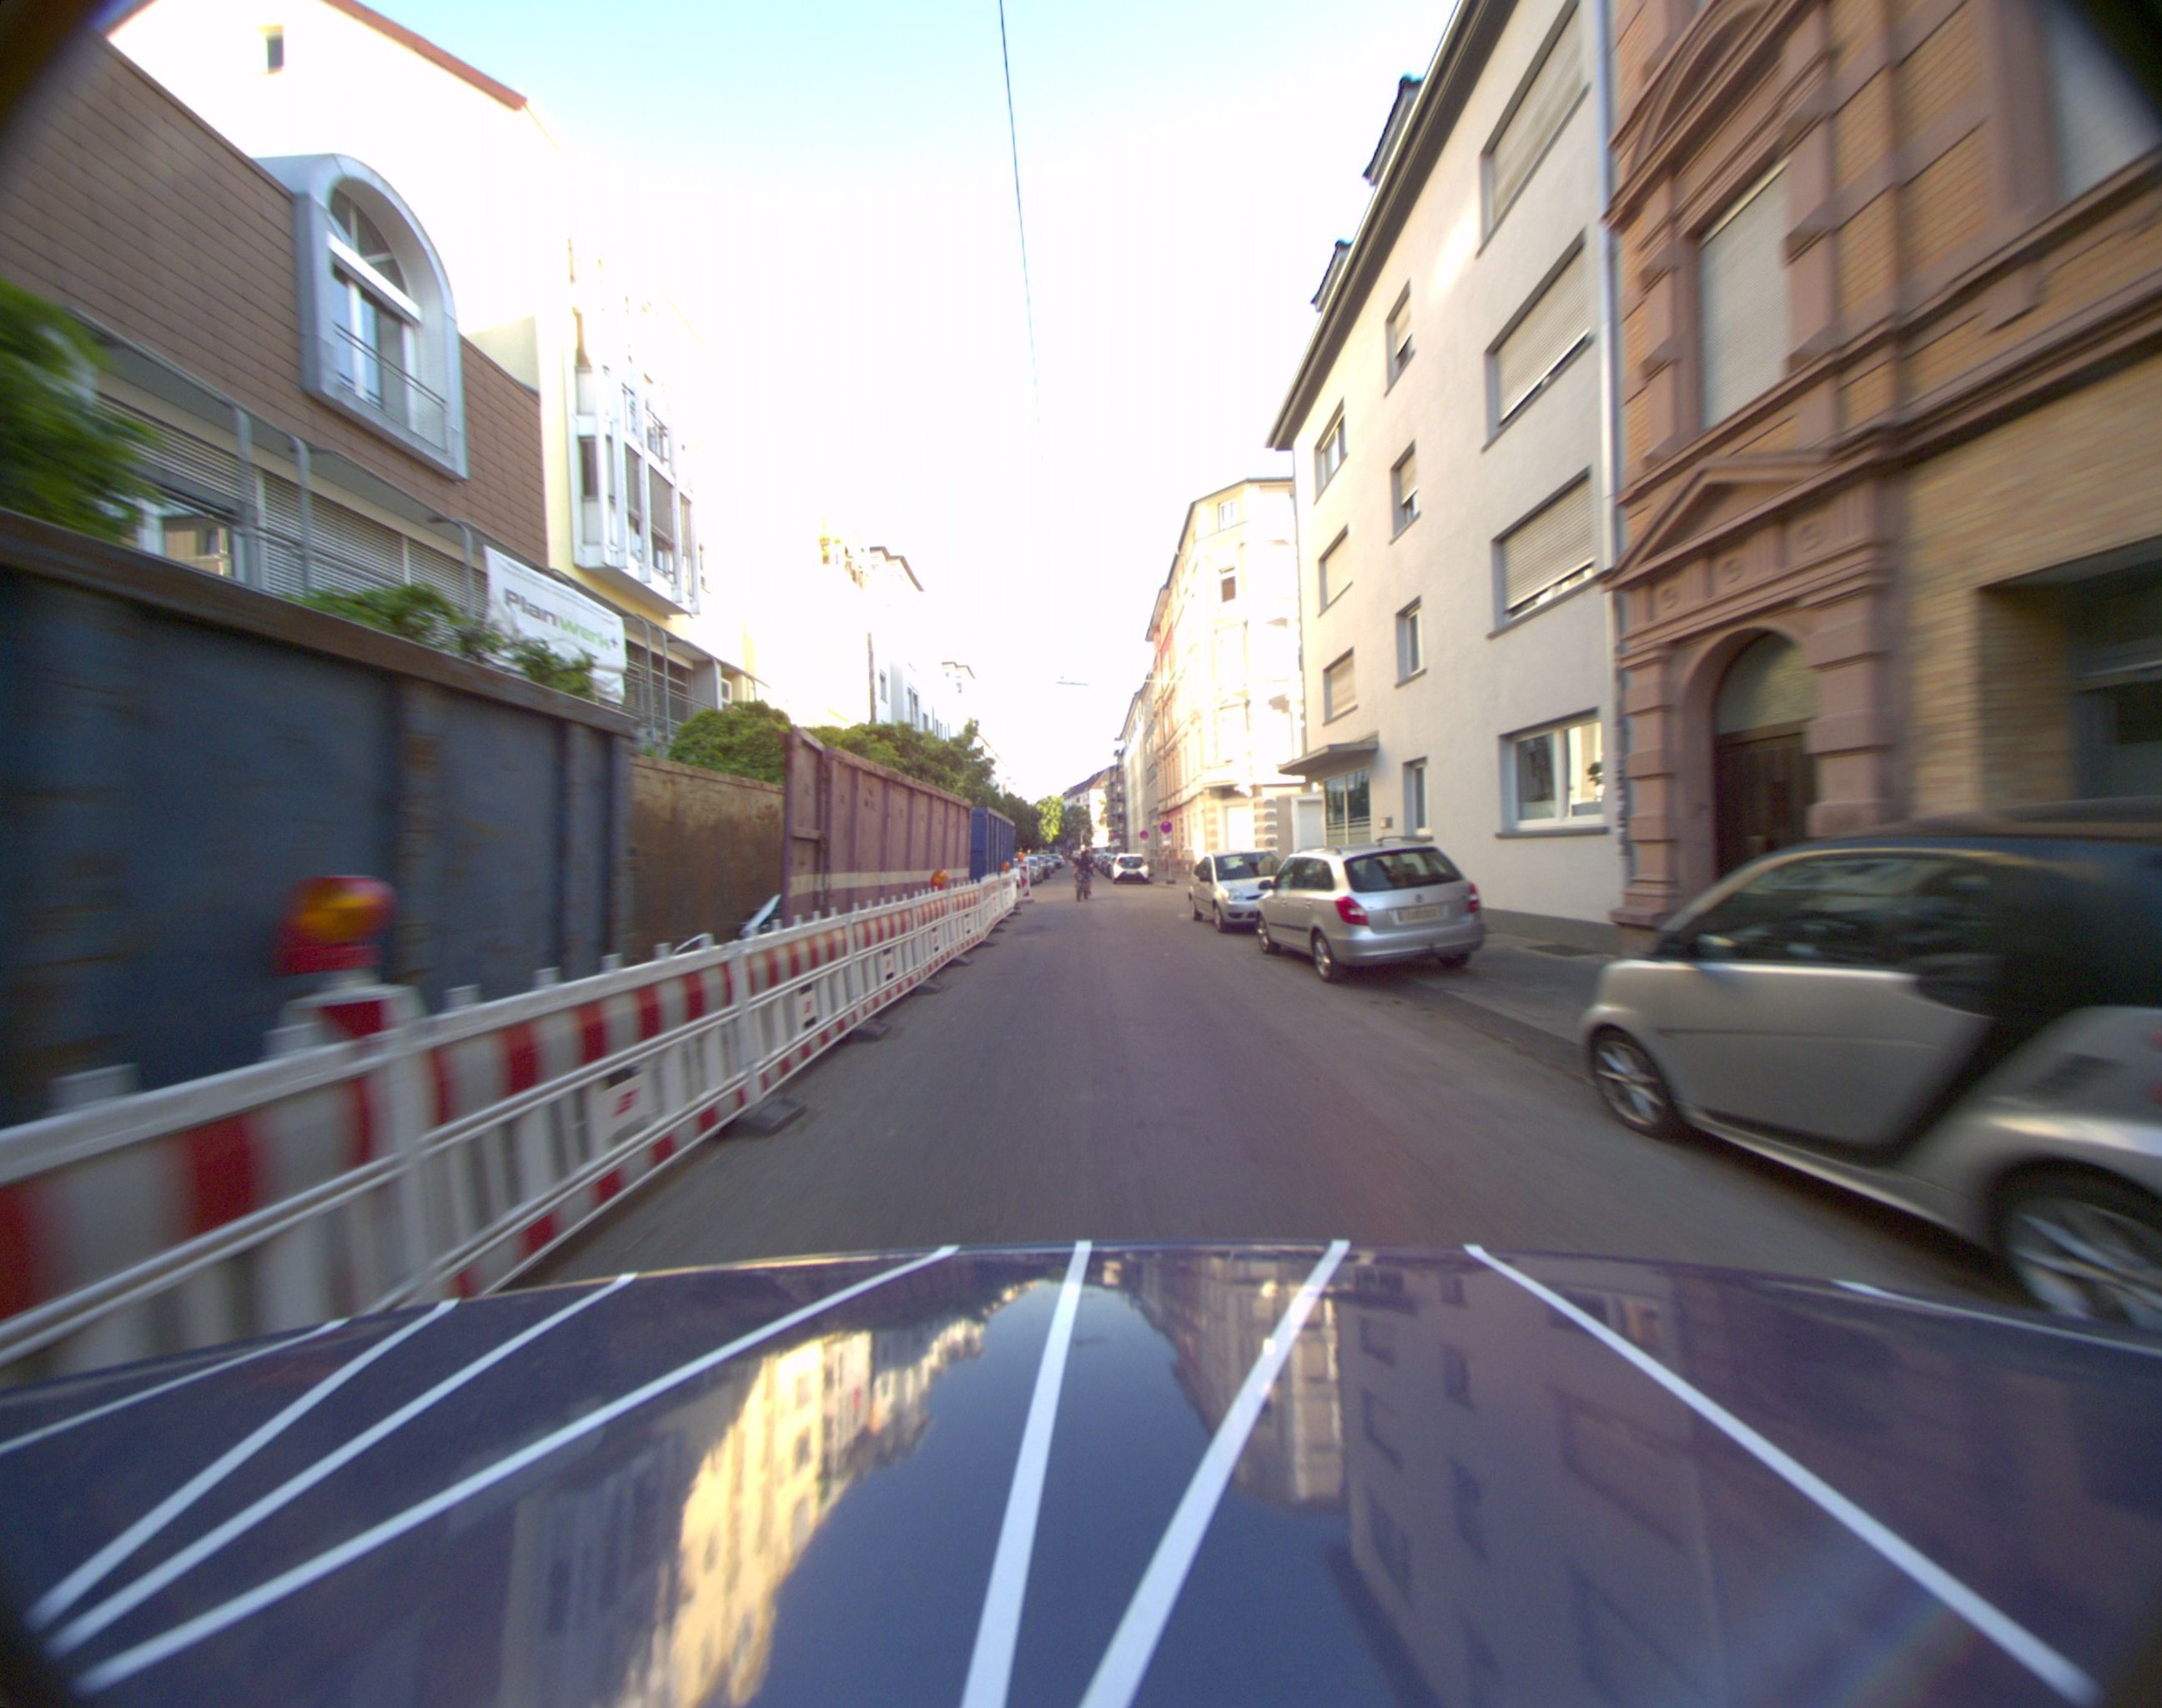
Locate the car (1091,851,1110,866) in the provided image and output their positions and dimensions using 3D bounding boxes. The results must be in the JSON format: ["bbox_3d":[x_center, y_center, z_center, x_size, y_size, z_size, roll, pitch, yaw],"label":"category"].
[{"bbox_3d":[2.195,0.501,85.734,1.998,1.566,4.149,-3,0,0],"label":"car"}]

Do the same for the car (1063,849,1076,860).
[{"bbox_3d":[-1.900,0.039,125.668,1.998,1.783,4.000,-3,0,0],"label":"car"}]

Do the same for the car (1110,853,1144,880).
[{"bbox_3d":[2.590,0.677,43.493,1.614,1.420,3.961,0,1,-1],"label":"car"}]

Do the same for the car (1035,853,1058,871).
[{"bbox_3d":[-3.115,0.722,68.933,1.855,1.480,3.999,-3,0,-1],"label":"car"}]

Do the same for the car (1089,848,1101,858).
[{"bbox_3d":[2.520,-0.224,139.032,1.998,1.783,4.000,-3,0,0],"label":"car"}]

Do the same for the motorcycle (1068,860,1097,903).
[{"bbox_3d":[0.065,0.859,24.042,0.806,1.242,1.699,-4,-1,1],"label":"motorcycle"}]

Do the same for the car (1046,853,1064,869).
[{"bbox_3d":[-2.901,0.792,85.251,1.856,1.649,3.999,-3,0,-2],"label":"car"}]

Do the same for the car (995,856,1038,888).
[{"bbox_3d":[-3.263,0.900,39.004,1.638,1.439,4.067,-3,0,3],"label":"car"}]

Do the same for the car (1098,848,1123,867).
[{"bbox_3d":[2.727,0.300,71.108,1.999,1.640,4.492,-3,1,-1],"label":"car"}]

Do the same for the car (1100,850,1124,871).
[{"bbox_3d":[2.443,0.477,60.059,1.597,1.513,4.429,-3,1,-1],"label":"car"}]

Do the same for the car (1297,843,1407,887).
[{"bbox_3d":[10.468,0.405,29.482,3.588,1.471,1.686,-3,1,-5],"label":"car"}]

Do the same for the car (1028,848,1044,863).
[{"bbox_3d":[-6.386,0.257,107.599,1.999,2.002,3.999,-3,1,-1],"label":"car"}]

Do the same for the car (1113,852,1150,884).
[{"bbox_3d":[2.508,0.658,38.531,1.688,1.487,3.844,1,1,2],"label":"car"}]

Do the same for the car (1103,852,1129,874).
[{"bbox_3d":[2.489,0.600,55.050,1.537,1.490,4.195,-1,1,-1],"label":"car"}]

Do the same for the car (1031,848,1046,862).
[{"bbox_3d":[-6.301,0.153,112.088,1.999,2.002,3.999,-3,1,-1],"label":"car"}]

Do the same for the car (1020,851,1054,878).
[{"bbox_3d":[-2.997,0.692,52.682,1.863,1.679,4.390,-3,0,2],"label":"car"}]

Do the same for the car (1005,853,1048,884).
[{"bbox_3d":[-3.070,0.798,43.728,1.912,1.576,4.000,-3,0,3],"label":"car"}]

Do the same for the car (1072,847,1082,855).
[{"bbox_3d":[-0.816,-0.663,168.603,1.998,1.783,4.000,-3,0,0],"label":"car"}]

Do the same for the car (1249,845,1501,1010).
[{"bbox_3d":[3.309,0.717,9.321,1.559,1.500,3.597,-5,1,-1],"label":"car"}]

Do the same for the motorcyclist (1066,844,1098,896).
[{"bbox_3d":[0.031,0.494,24.025,0.874,1.558,1.000,-4,-1,2],"label":"motorcyclist"}]

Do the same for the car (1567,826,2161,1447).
[{"bbox_3d":[3.428,0.698,2.847,1.399,1.579,2.793,-1,1,-1],"label":"car"}]

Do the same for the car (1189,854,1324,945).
[{"bbox_3d":[3.188,0.757,14.477,1.636,1.422,3.554,-3,0,-1],"label":"car"}]

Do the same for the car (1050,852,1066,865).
[{"bbox_3d":[-2.986,0.560,97.878,1.903,1.510,4.223,-3,0,-1],"label":"car"}]

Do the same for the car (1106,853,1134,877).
[{"bbox_3d":[2.497,0.698,48.920,1.589,1.407,3.912,1,0,0],"label":"car"}]
